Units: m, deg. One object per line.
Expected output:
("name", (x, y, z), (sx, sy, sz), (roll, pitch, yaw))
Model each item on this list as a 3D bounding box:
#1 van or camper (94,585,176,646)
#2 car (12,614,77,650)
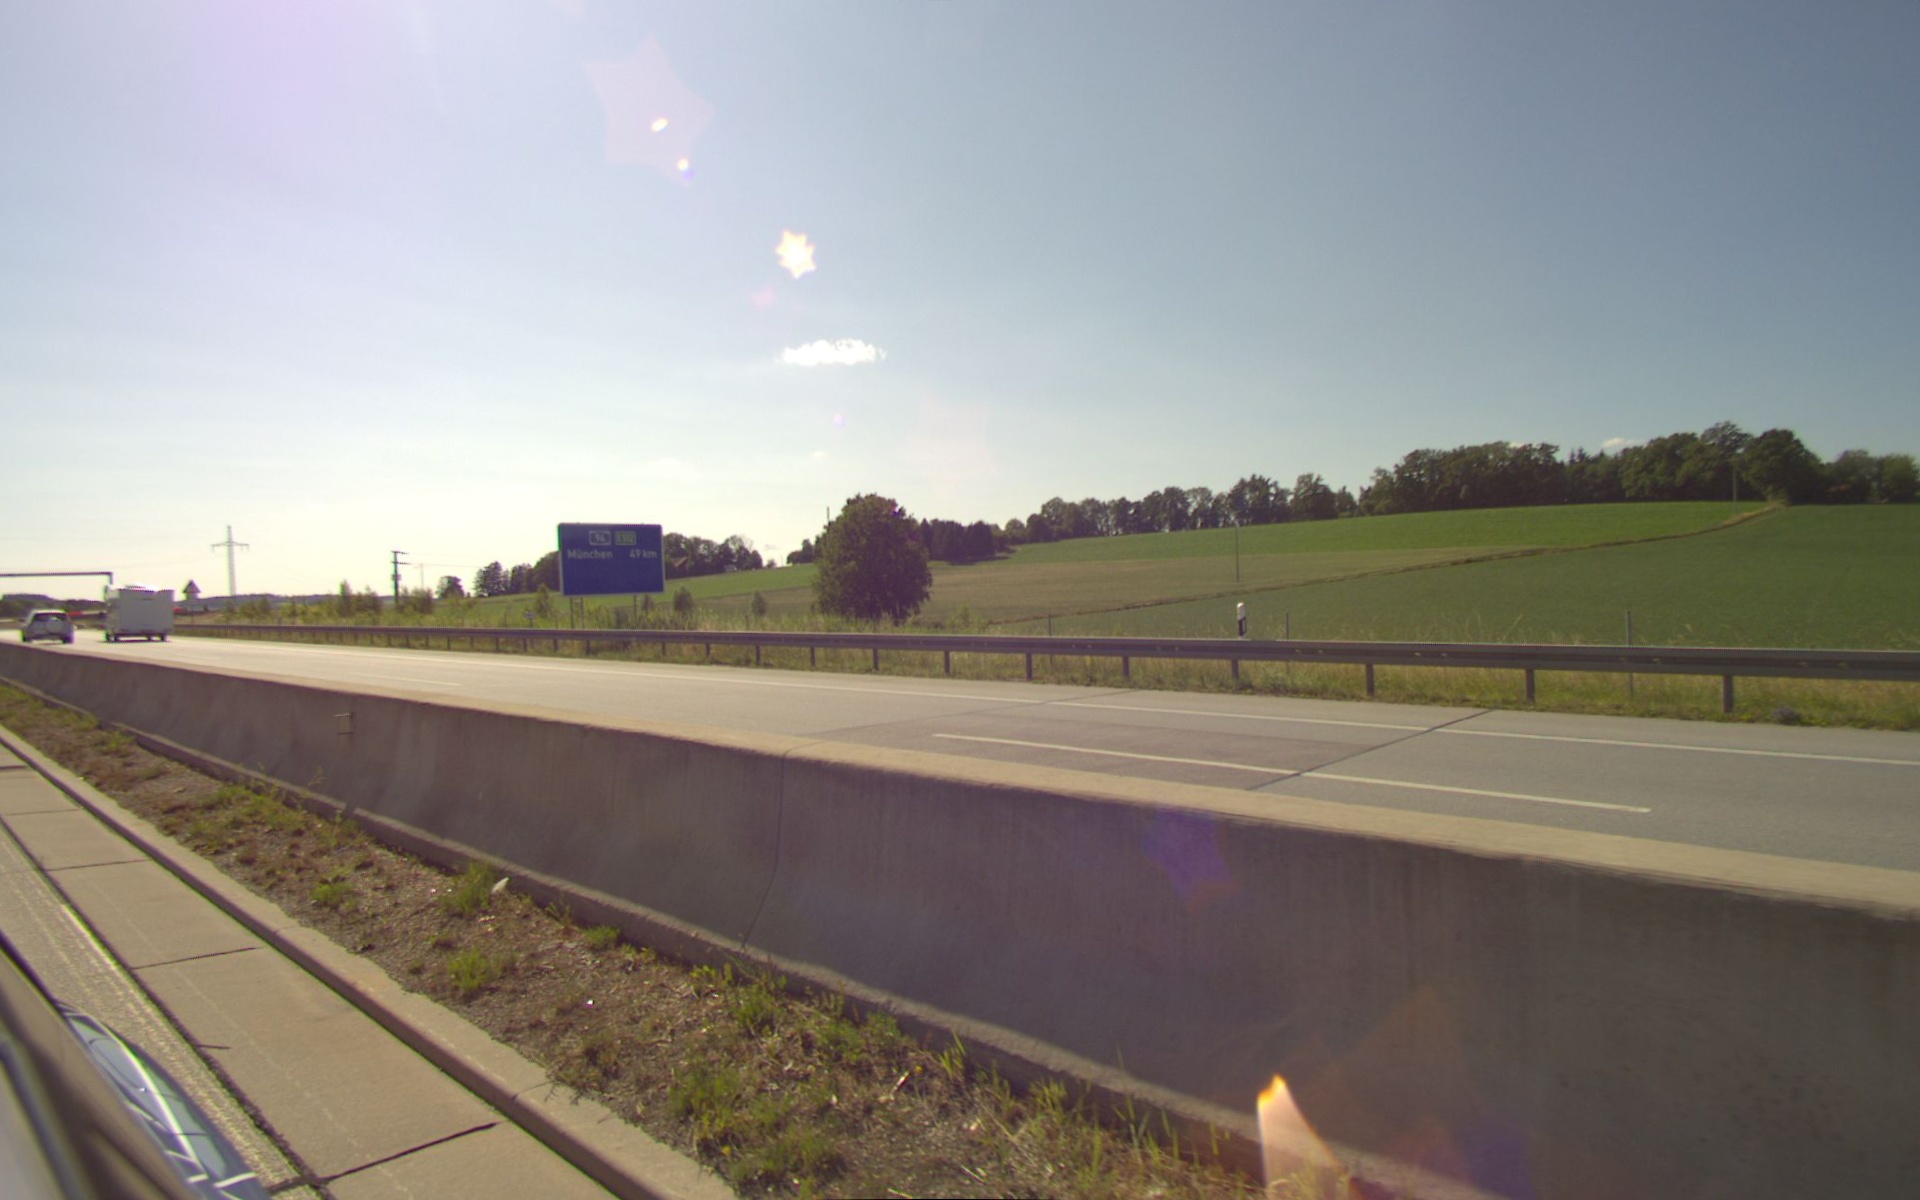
("van or camper", (-44.854, 0.843, 54.958), (7.439, 3.104, 2.562), (-1, -1, 44))
("car", (-45.475, 1.569, 50.263), (4.345, 1.722, 1.965), (-1, -1, 42))
